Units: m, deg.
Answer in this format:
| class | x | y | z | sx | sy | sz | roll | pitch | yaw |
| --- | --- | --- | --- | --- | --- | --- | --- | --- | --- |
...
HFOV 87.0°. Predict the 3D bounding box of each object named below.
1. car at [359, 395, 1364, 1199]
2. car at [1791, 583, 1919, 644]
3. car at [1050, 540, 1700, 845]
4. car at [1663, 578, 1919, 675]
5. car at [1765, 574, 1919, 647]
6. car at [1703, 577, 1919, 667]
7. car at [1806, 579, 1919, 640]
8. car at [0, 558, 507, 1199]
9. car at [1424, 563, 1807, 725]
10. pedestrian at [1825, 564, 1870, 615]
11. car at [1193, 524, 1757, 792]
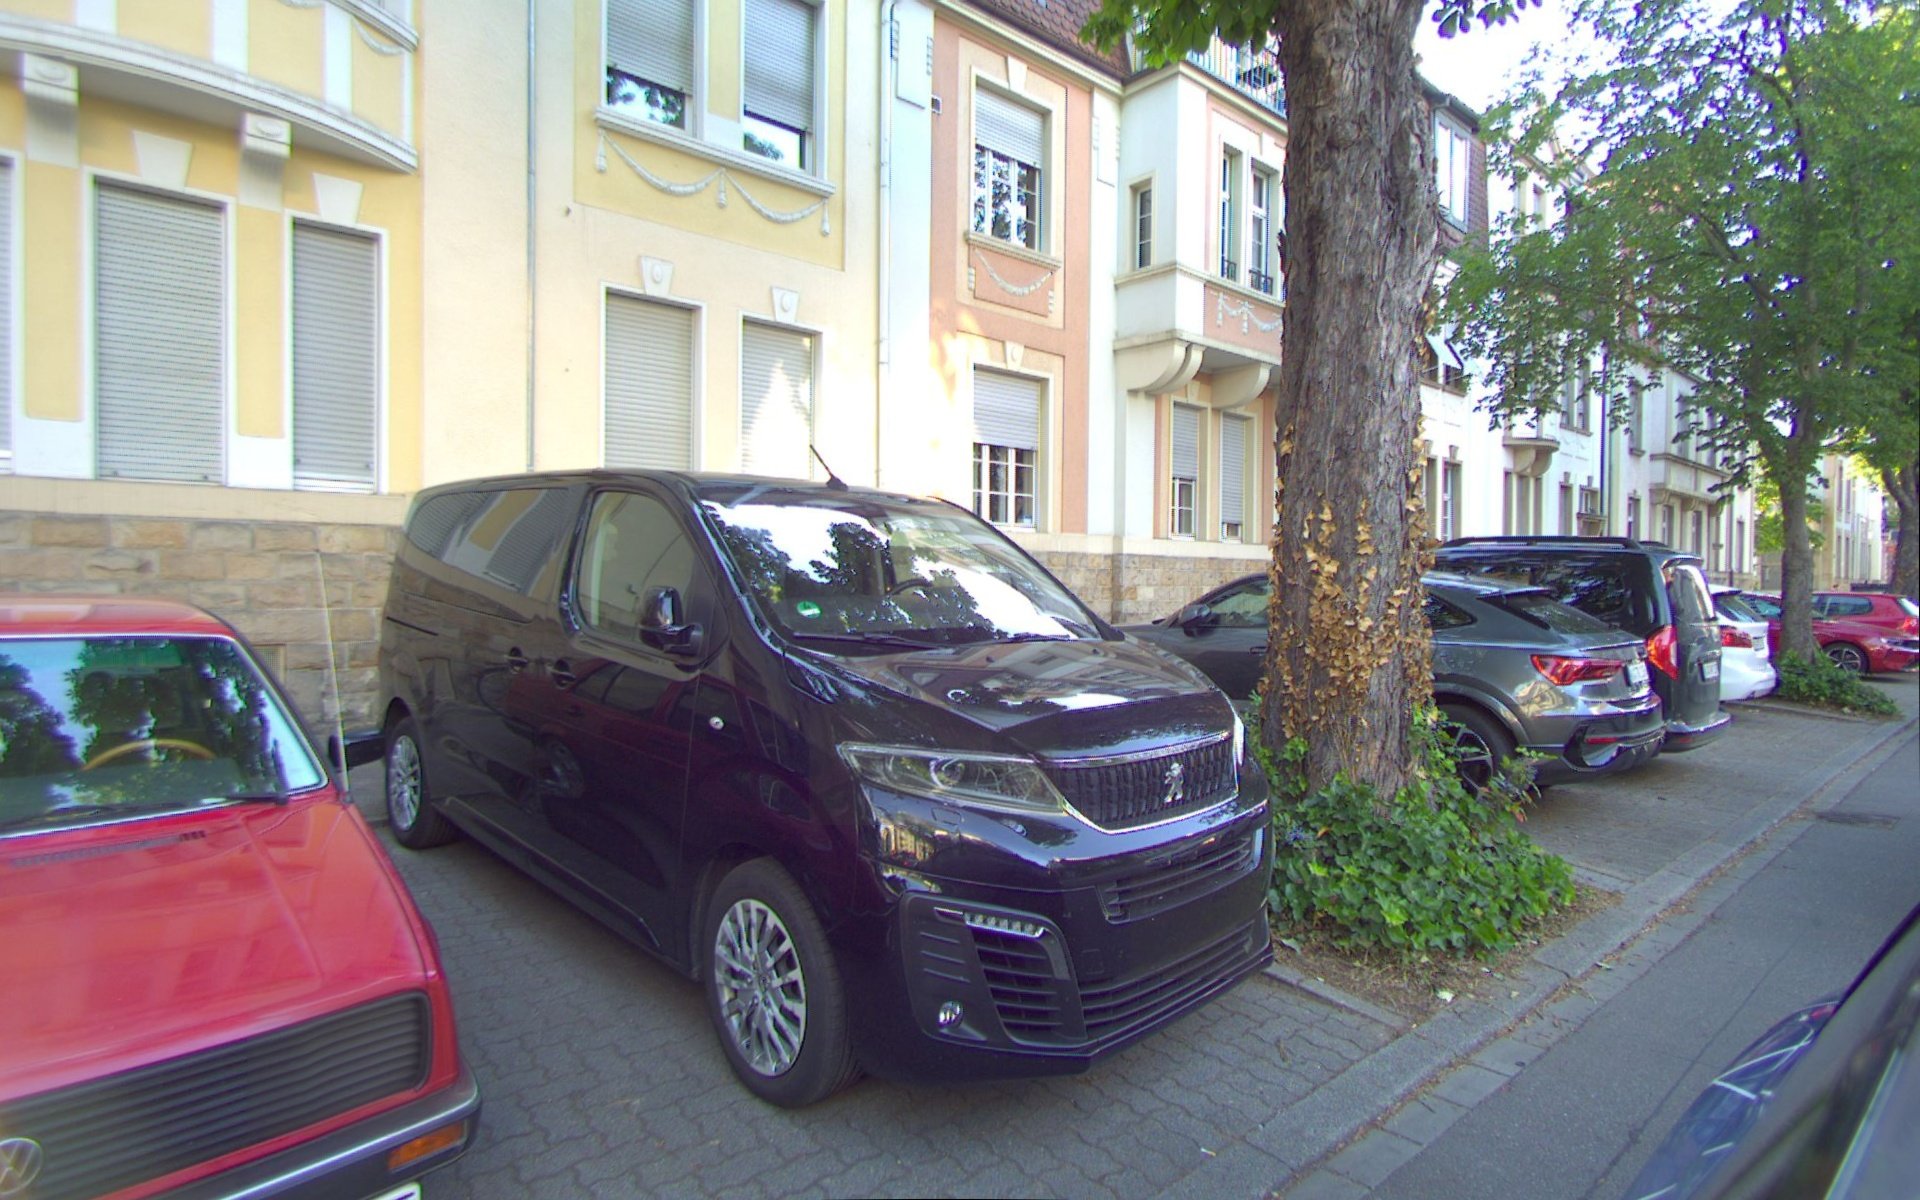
| class | x | y | z | sx | sy | sz | roll | pitch | yaw |
| --- | --- | --- | --- | --- | --- | --- | --- | --- | --- |
| car | -0.983 | 0.344 | 4.529 | 1.851 | 1.846 | 4.825 | -1 | 4 | -44 |
| car | 23.960 | 0.335 | 26.138 | 1.511 | 1.420 | 3.621 | 0 | 3 | -40 |
| car | 2.780 | 0.400 | 7.530 | 1.569 | 1.611 | 4.165 | -1 | 4 | -44 |
| car | 14.937 | 0.398 | 18.074 | 1.511 | 1.420 | 3.621 | 0 | 3 | -40 |
| car | 21.630 | 0.211 | 24.090 | 1.511 | 1.584 | 3.621 | 0 | 2 | -40 |
| car | 16.871 | 0.370 | 19.669 | 1.511 | 1.482 | 3.621 | 0 | 3 | -40 |
| car | 25.937 | 0.252 | 28.028 | 1.511 | 1.584 | 3.621 | 0 | 2 | -40 |
| car | -2.802 | 0.590 | 2.973 | 1.532 | 1.336 | 3.917 | -1 | 4 | -43 |
| car | 7.777 | 0.397 | 12.232 | 1.513 | 1.569 | 3.616 | -1 | 3 | -45 |
| pedestrian | 36.367 | -0.435 | 41.461 | 0.915 | 2.038 | 1.188 | 0 | 3 | -41 |
| car | 4.325 | 0.277 | 9.024 | 1.569 | 1.849 | 4.165 | -1 | 4 | -44 |
